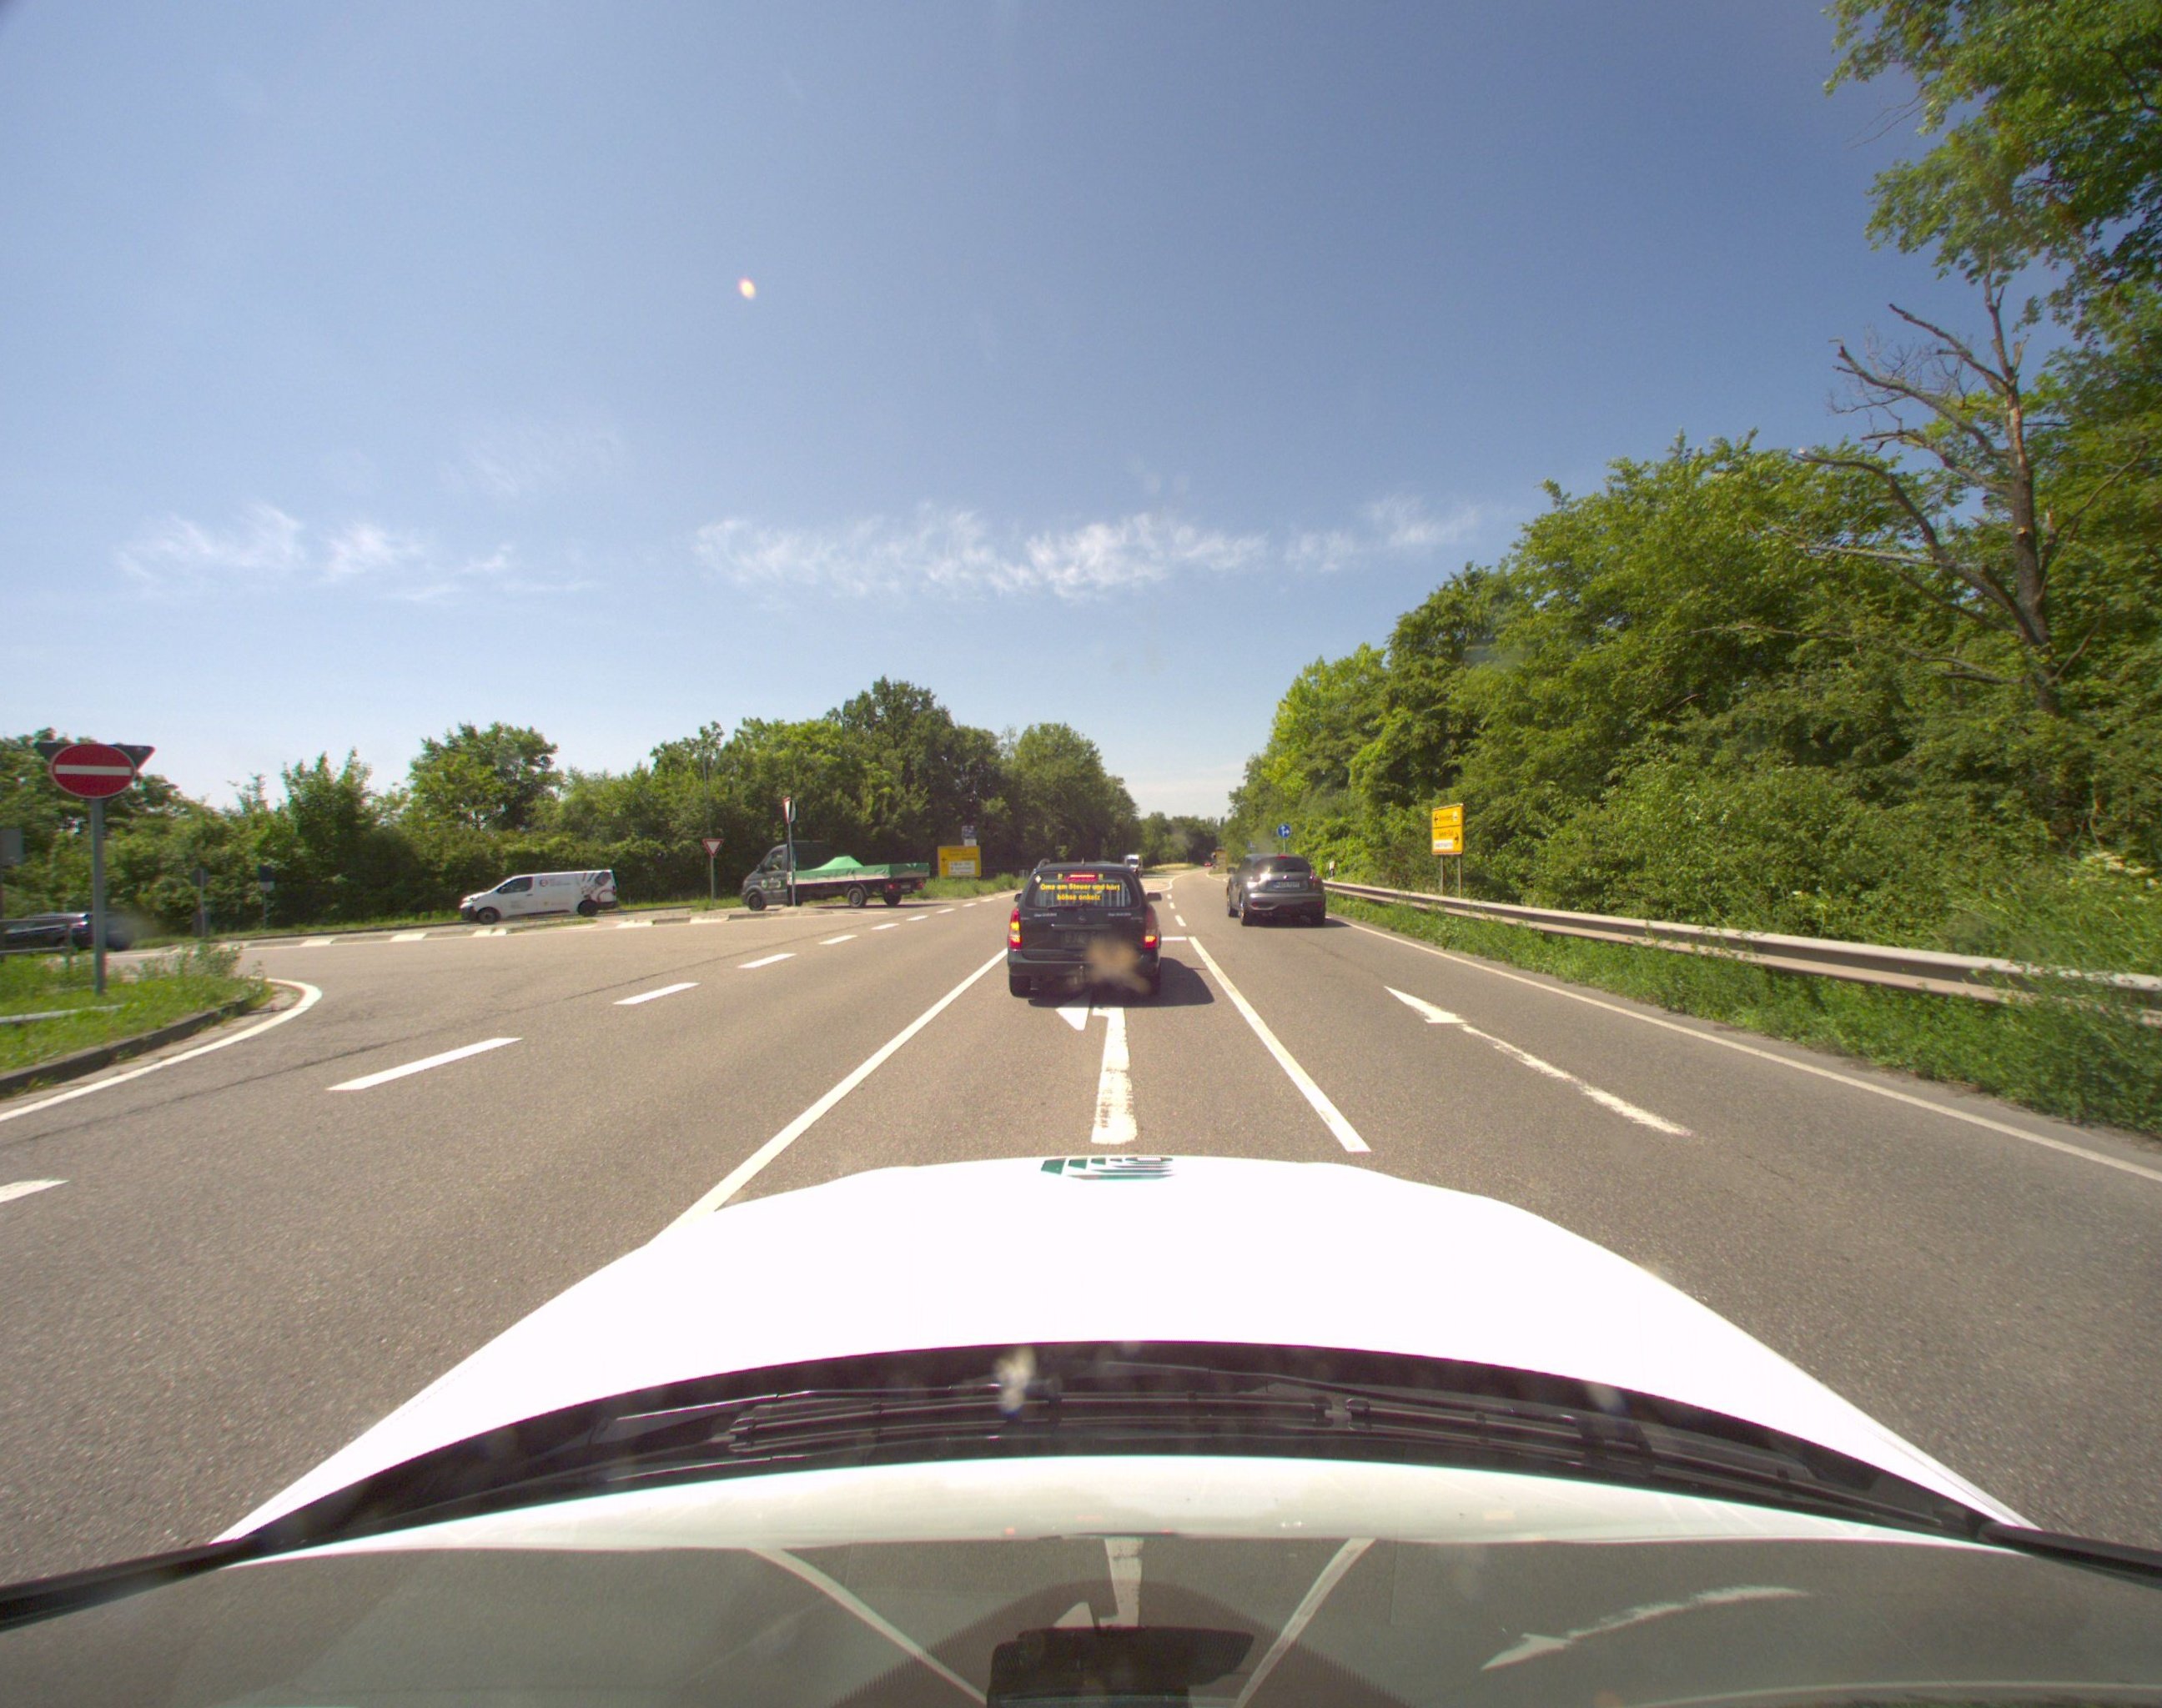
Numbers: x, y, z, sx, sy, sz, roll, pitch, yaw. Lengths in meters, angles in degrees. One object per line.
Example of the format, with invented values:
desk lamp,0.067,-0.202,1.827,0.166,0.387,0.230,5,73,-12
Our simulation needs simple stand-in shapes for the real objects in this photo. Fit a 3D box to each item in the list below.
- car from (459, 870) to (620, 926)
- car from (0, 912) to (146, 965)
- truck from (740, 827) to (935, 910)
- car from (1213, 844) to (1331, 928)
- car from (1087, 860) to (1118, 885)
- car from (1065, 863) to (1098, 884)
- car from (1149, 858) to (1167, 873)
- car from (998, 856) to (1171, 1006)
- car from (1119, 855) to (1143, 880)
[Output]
car,-21.591,1.670,32.627,5.218,1.923,1.994,-1,0,-37
car,-36.088,2.950,28.605,3.922,1.596,1.762,-1,0,-14
truck,-8.387,0.557,27.864,6.556,2.565,2.158,-2,-1,26
car,4.226,0.647,18.658,1.836,1.684,4.001,-1,0,2
car,1.359,1.108,49.573,1.636,1.419,3.771,-1,-1,5
car,0.079,1.679,70.851,1.658,1.662,4.019,-2,0,19
car,17.913,2.707,189.283,2.003,3.226,4.769,-1,-1,-24
car,0.120,0.777,10.053,1.713,1.457,3.800,-1,0,3
car,5.922,1.550,95.282,2.092,2.850,6.028,-1,-1,10
